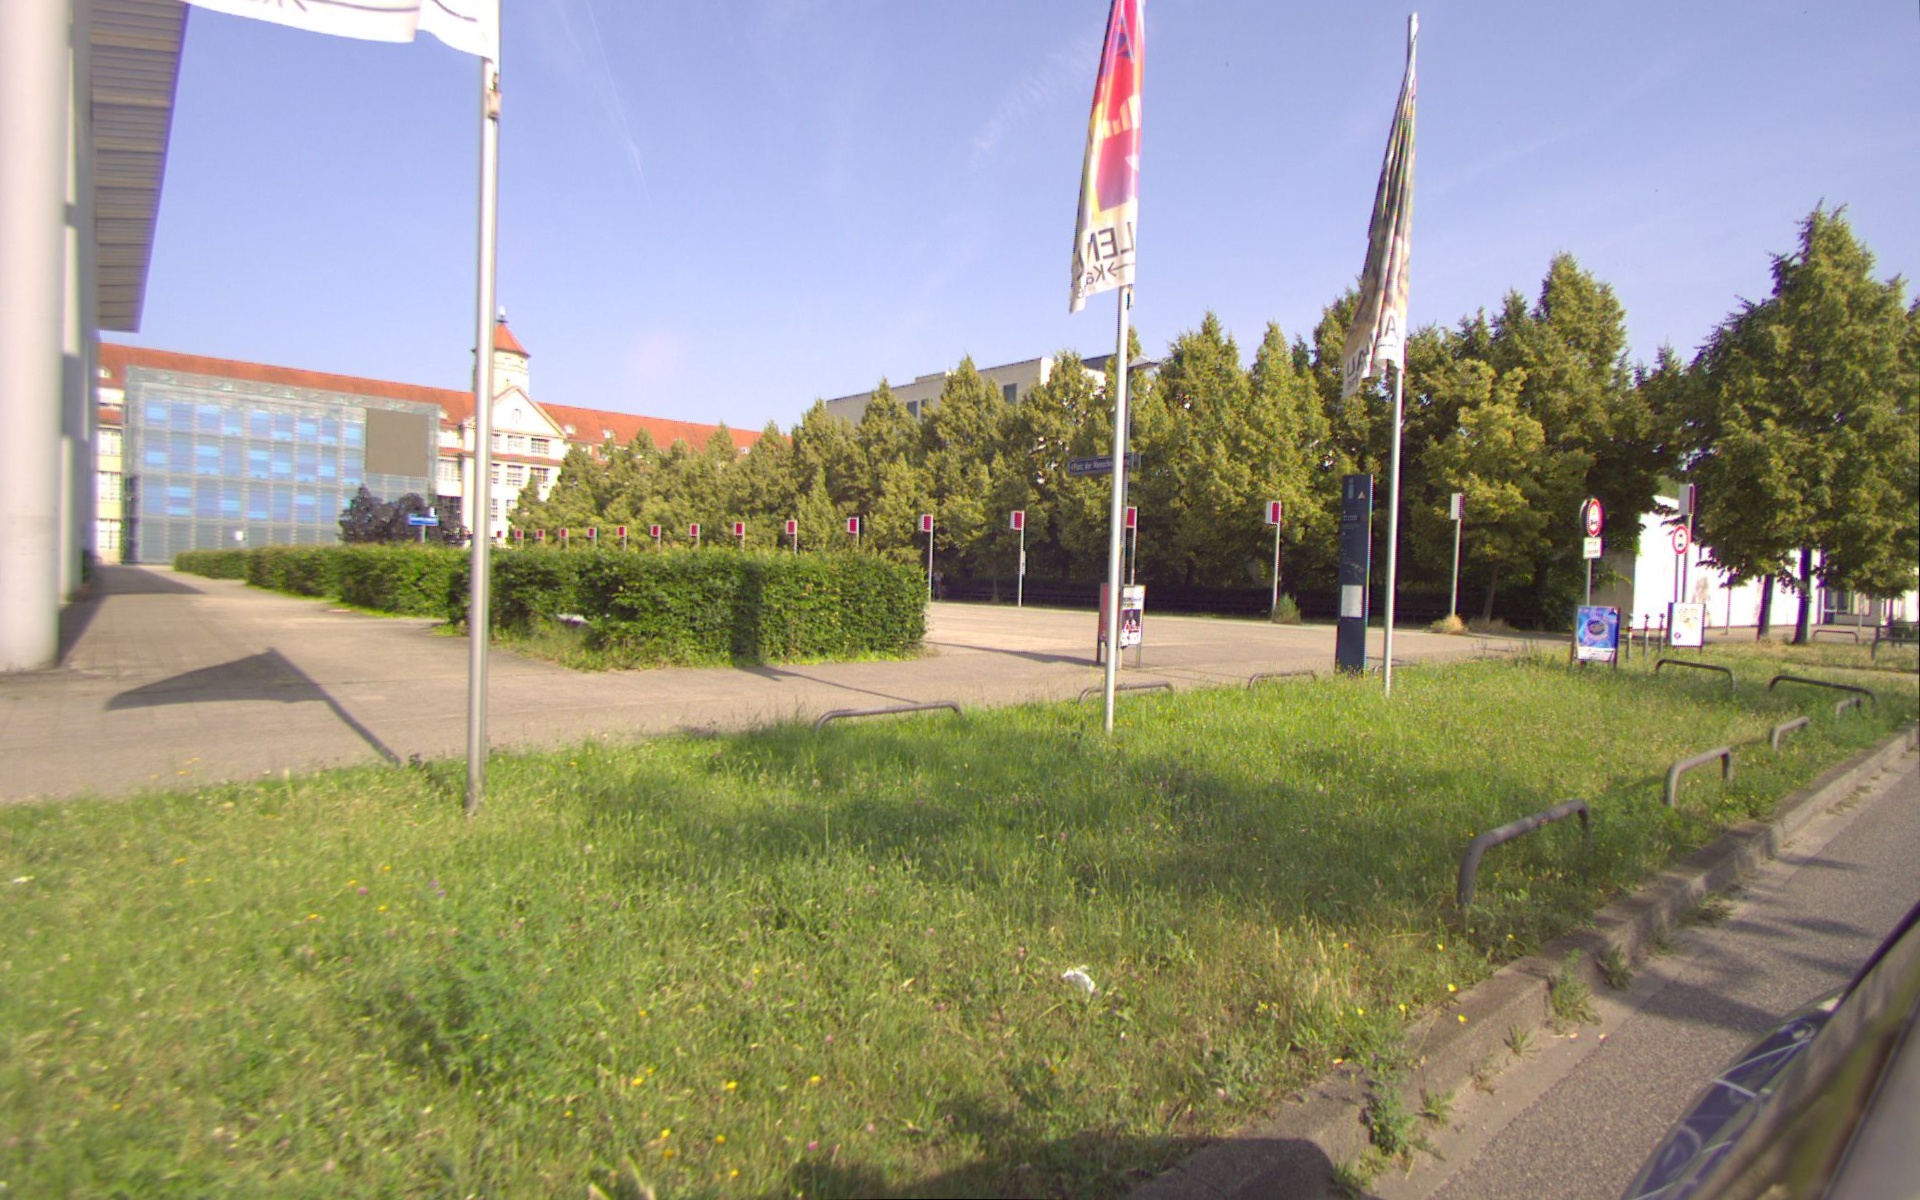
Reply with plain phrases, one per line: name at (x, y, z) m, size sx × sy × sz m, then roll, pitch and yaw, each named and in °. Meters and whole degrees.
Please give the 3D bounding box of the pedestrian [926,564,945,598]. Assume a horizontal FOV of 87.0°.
pedestrian at (-1.333, -1.049, 55.364) m, size 0.795 × 1.845 × 0.734 m, roll 2°, pitch 1°, yaw 19°
